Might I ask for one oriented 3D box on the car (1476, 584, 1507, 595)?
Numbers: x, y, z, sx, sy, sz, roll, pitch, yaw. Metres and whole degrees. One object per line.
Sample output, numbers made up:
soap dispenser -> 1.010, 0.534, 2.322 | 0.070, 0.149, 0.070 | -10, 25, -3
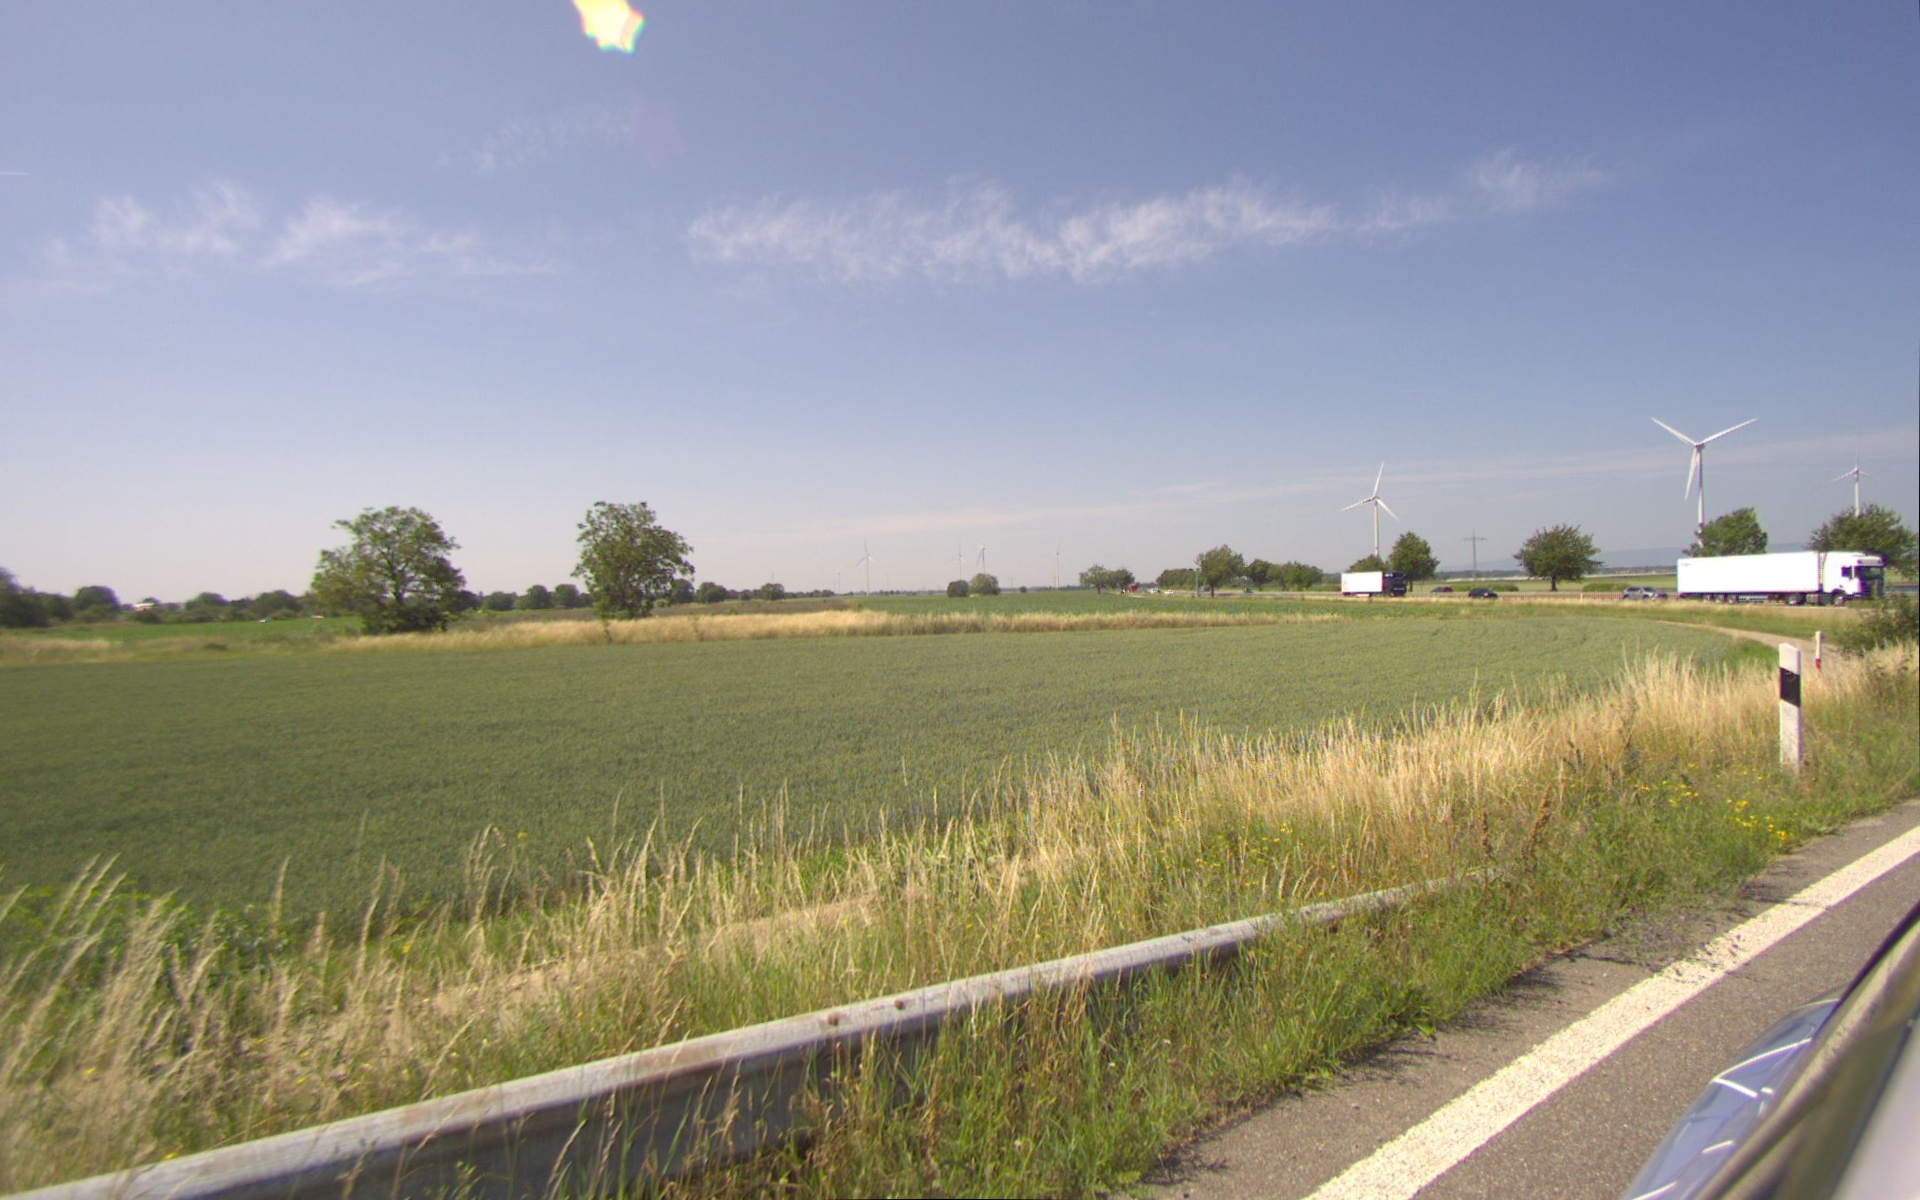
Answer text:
car -> 66.681, -1.284, 126.967 | 1.648, 1.371, 4.003 | -1, 1, -3

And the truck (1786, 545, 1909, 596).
truck -> 65.217, -2.155, 74.598 | 3.053, 3.562, 6.463 | -1, 1, -6

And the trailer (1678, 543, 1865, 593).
trailer -> 64.590, -2.429, 81.291 | 3.041, 3.690, 13.671 | -1, 1, -5

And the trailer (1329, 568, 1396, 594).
trailer -> 60.027, -2.756, 151.385 | 3.041, 3.690, 14.530 | -1, 1, -5

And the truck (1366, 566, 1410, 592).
truck -> 60.763, -2.957, 143.848 | 3.053, 3.562, 6.243 | -1, 1, -6

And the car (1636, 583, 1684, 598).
car -> 67.786, -0.914, 98.091 | 1.648, 1.371, 4.004 | -1, 1, -5
